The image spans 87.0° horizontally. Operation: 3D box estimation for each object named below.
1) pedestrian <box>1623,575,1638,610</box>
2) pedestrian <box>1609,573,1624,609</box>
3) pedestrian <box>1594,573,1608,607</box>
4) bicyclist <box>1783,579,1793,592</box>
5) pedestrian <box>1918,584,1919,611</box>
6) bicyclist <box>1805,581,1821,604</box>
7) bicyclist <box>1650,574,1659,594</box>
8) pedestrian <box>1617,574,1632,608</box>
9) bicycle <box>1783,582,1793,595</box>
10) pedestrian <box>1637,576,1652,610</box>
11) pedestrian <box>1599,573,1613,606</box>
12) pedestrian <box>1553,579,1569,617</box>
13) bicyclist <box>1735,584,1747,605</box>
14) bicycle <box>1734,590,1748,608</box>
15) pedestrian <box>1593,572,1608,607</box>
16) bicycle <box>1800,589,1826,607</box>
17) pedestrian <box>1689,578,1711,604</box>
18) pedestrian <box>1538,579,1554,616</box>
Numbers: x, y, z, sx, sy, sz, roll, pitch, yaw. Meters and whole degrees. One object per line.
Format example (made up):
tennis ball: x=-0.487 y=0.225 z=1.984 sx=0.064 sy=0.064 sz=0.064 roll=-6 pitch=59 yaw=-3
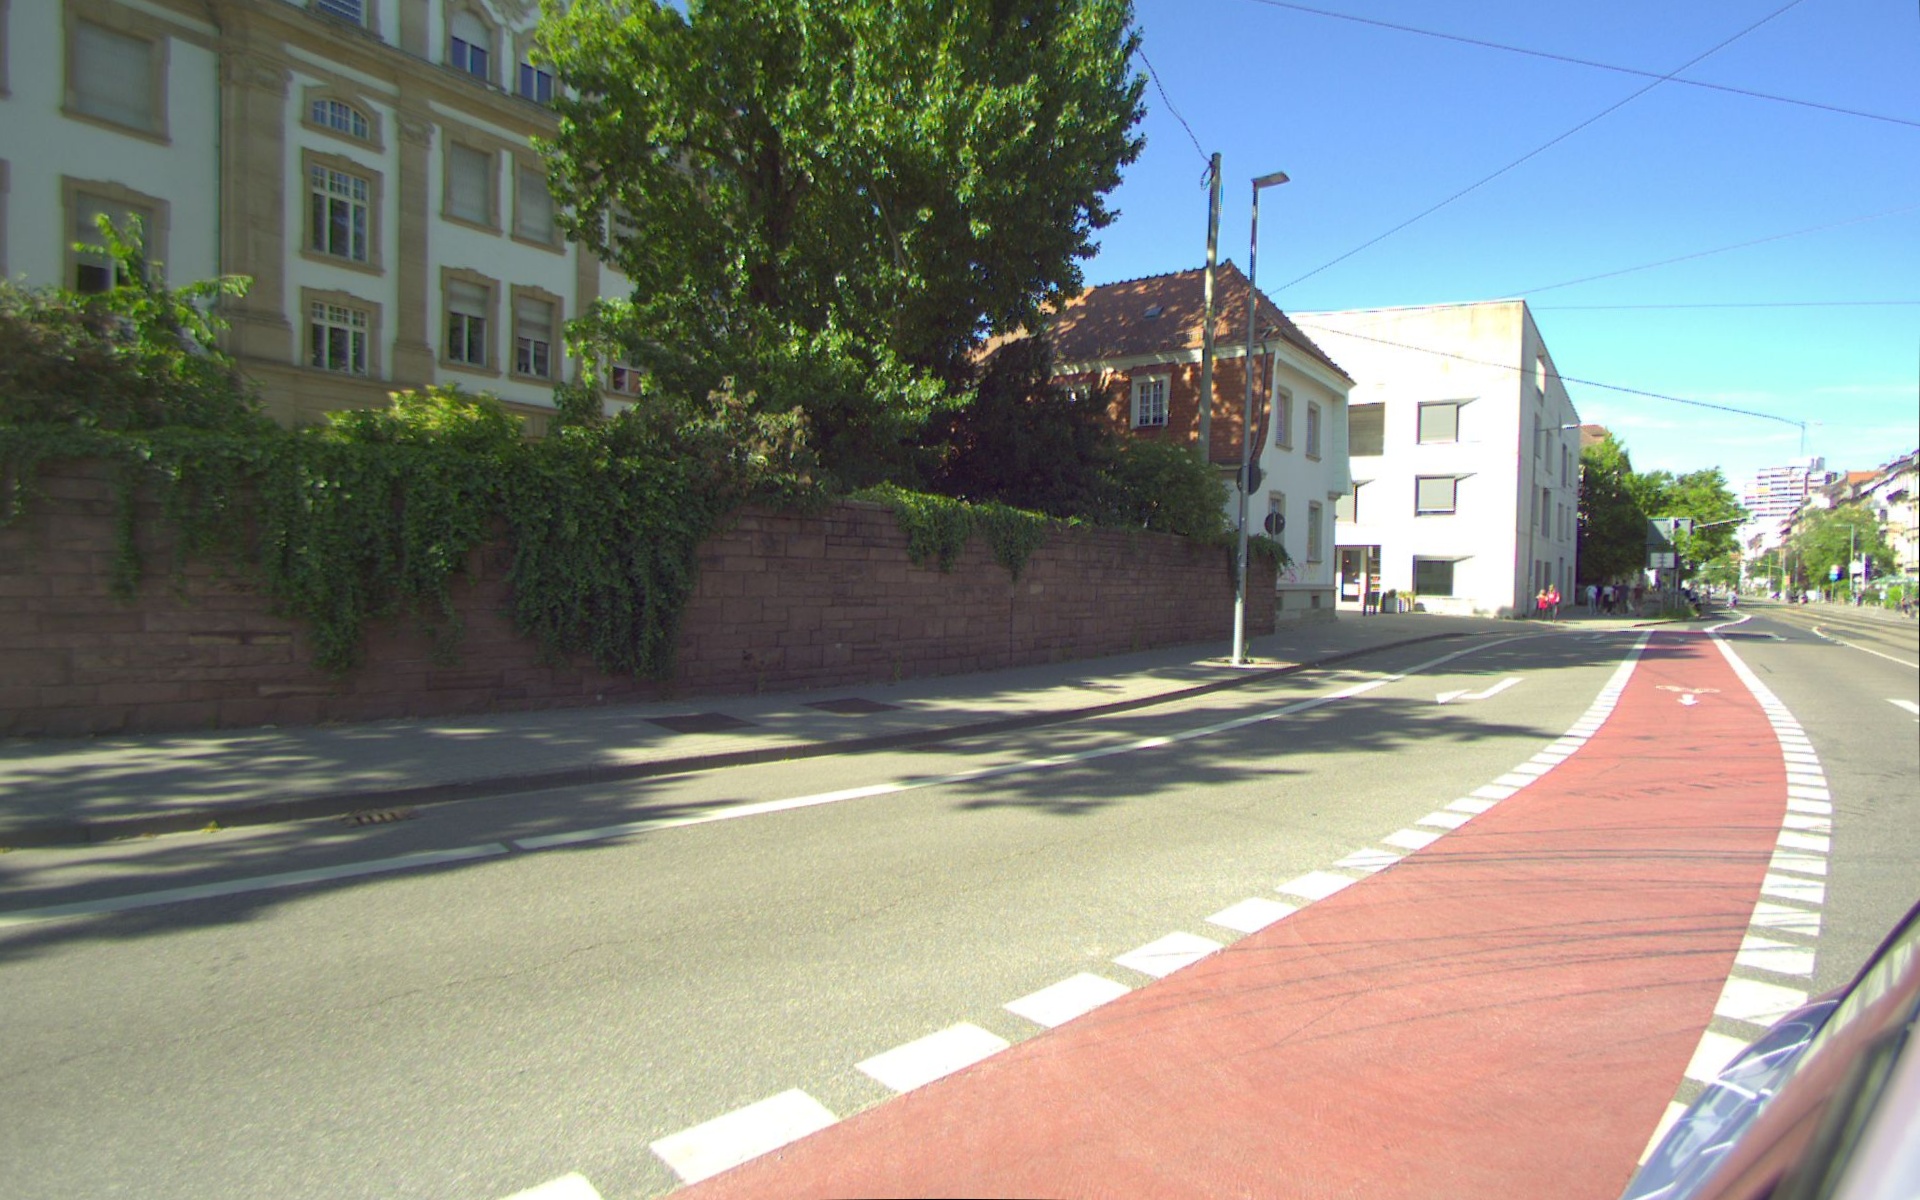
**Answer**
pedestrian: x=34.772 y=-0.389 z=52.506 sx=0.584 sy=1.828 sz=0.513 roll=2 pitch=1 yaw=36
pedestrian: x=34.394 y=-0.473 z=53.038 sx=0.584 sy=1.828 sz=0.538 roll=2 pitch=1 yaw=36
pedestrian: x=34.852 y=-0.543 z=55.013 sx=0.584 sy=1.828 sz=0.575 roll=2 pitch=1 yaw=36
bicyclist: x=112.109 y=-1.905 z=137.036 sx=0.998 sy=1.743 sz=0.972 roll=0 pitch=1 yaw=37
pedestrian: x=66.120 y=-0.157 z=69.339 sx=0.576 sy=1.879 sz=0.675 roll=2 pitch=2 yaw=37
bicyclist: x=87.745 y=-0.771 z=104.098 sx=0.991 sy=2.296 sz=1.014 roll=0 pitch=1 yaw=19
bicyclist: x=81.884 y=-1.885 z=119.299 sx=0.809 sy=2.234 sz=0.971 roll=0 pitch=1 yaw=39
pedestrian: x=35.824 y=-0.489 z=54.545 sx=0.584 sy=1.828 sz=0.575 roll=2 pitch=1 yaw=36
bicycle: x=112.117 y=-1.602 z=137.042 sx=0.998 sy=1.702 sz=2.946 roll=0 pitch=2 yaw=37
pedestrian: x=35.382 y=-0.368 z=52.283 sx=0.584 sy=1.749 sz=0.513 roll=2 pitch=1 yaw=36
pedestrian: x=35.962 y=-0.590 z=56.304 sx=0.584 sy=1.828 sz=0.538 roll=2 pitch=1 yaw=36
pedestrian: x=25.787 y=-0.094 z=43.435 sx=0.531 sy=1.586 sz=0.513 roll=2 pitch=1 yaw=36
bicyclist: x=53.527 y=-0.381 z=69.350 sx=0.663 sy=1.480 sz=0.613 roll=0 pitch=1 yaw=41
bicycle: x=53.540 y=-0.062 z=69.370 sx=0.663 sy=1.166 sz=1.648 roll=0 pitch=2 yaw=40
pedestrian: x=33.877 y=-0.538 z=53.500 sx=0.584 sy=1.828 sz=0.538 roll=2 pitch=1 yaw=36
bicycle: x=87.778 y=-0.220 z=104.141 sx=0.991 sy=1.702 sz=2.967 roll=0 pitch=1 yaw=19
pedestrian: x=51.249 y=-0.658 z=70.085 sx=0.916 sy=1.759 sz=0.677 roll=1 pitch=1 yaw=9
pedestrian: x=25.444 y=-0.106 z=43.951 sx=0.531 sy=1.586 sz=0.513 roll=2 pitch=1 yaw=36
